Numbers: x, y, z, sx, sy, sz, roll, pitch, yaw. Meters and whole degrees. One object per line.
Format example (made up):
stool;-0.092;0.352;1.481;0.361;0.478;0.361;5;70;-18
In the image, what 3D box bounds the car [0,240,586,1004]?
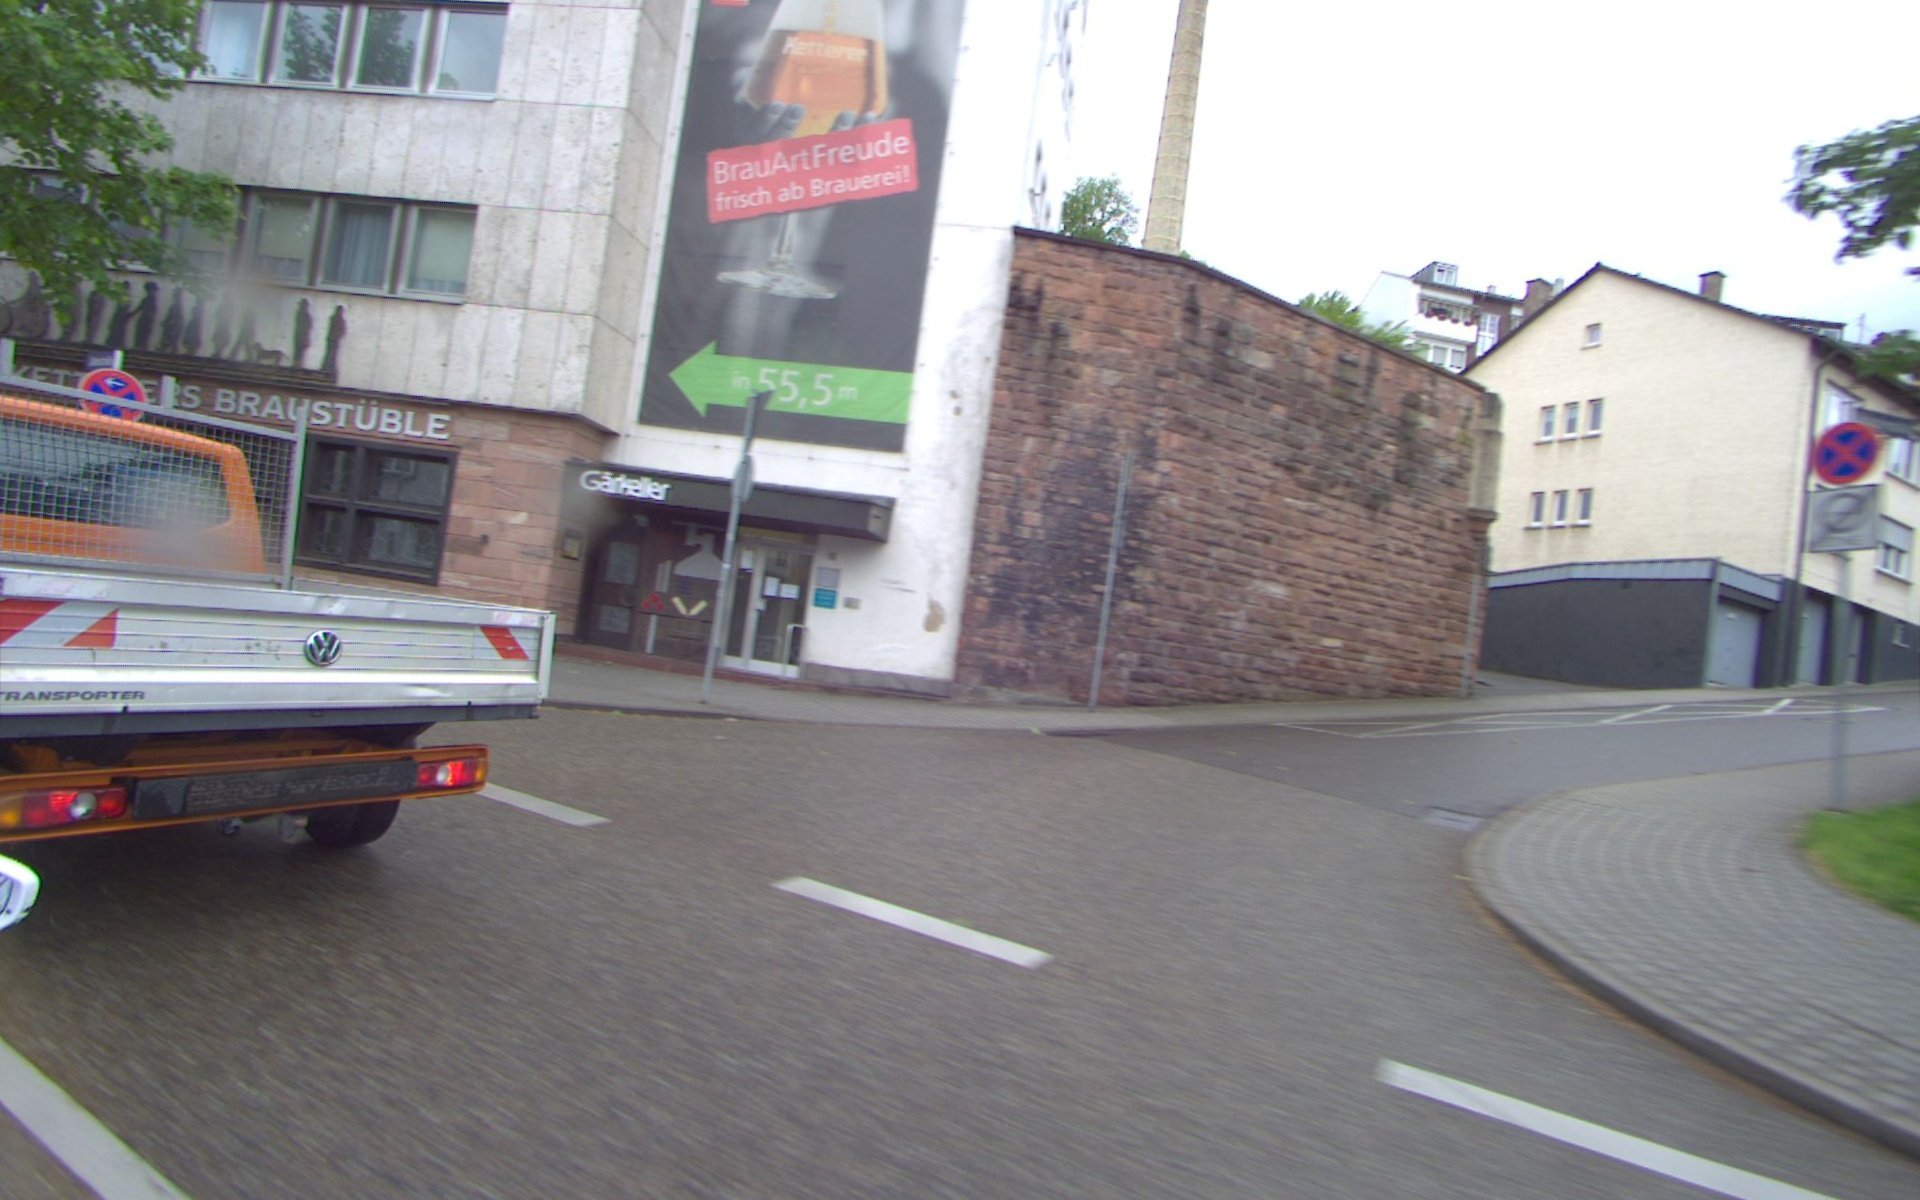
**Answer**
car;-4.612;-0.118;4.838;5.447;2.115;2.105;7;0;30
